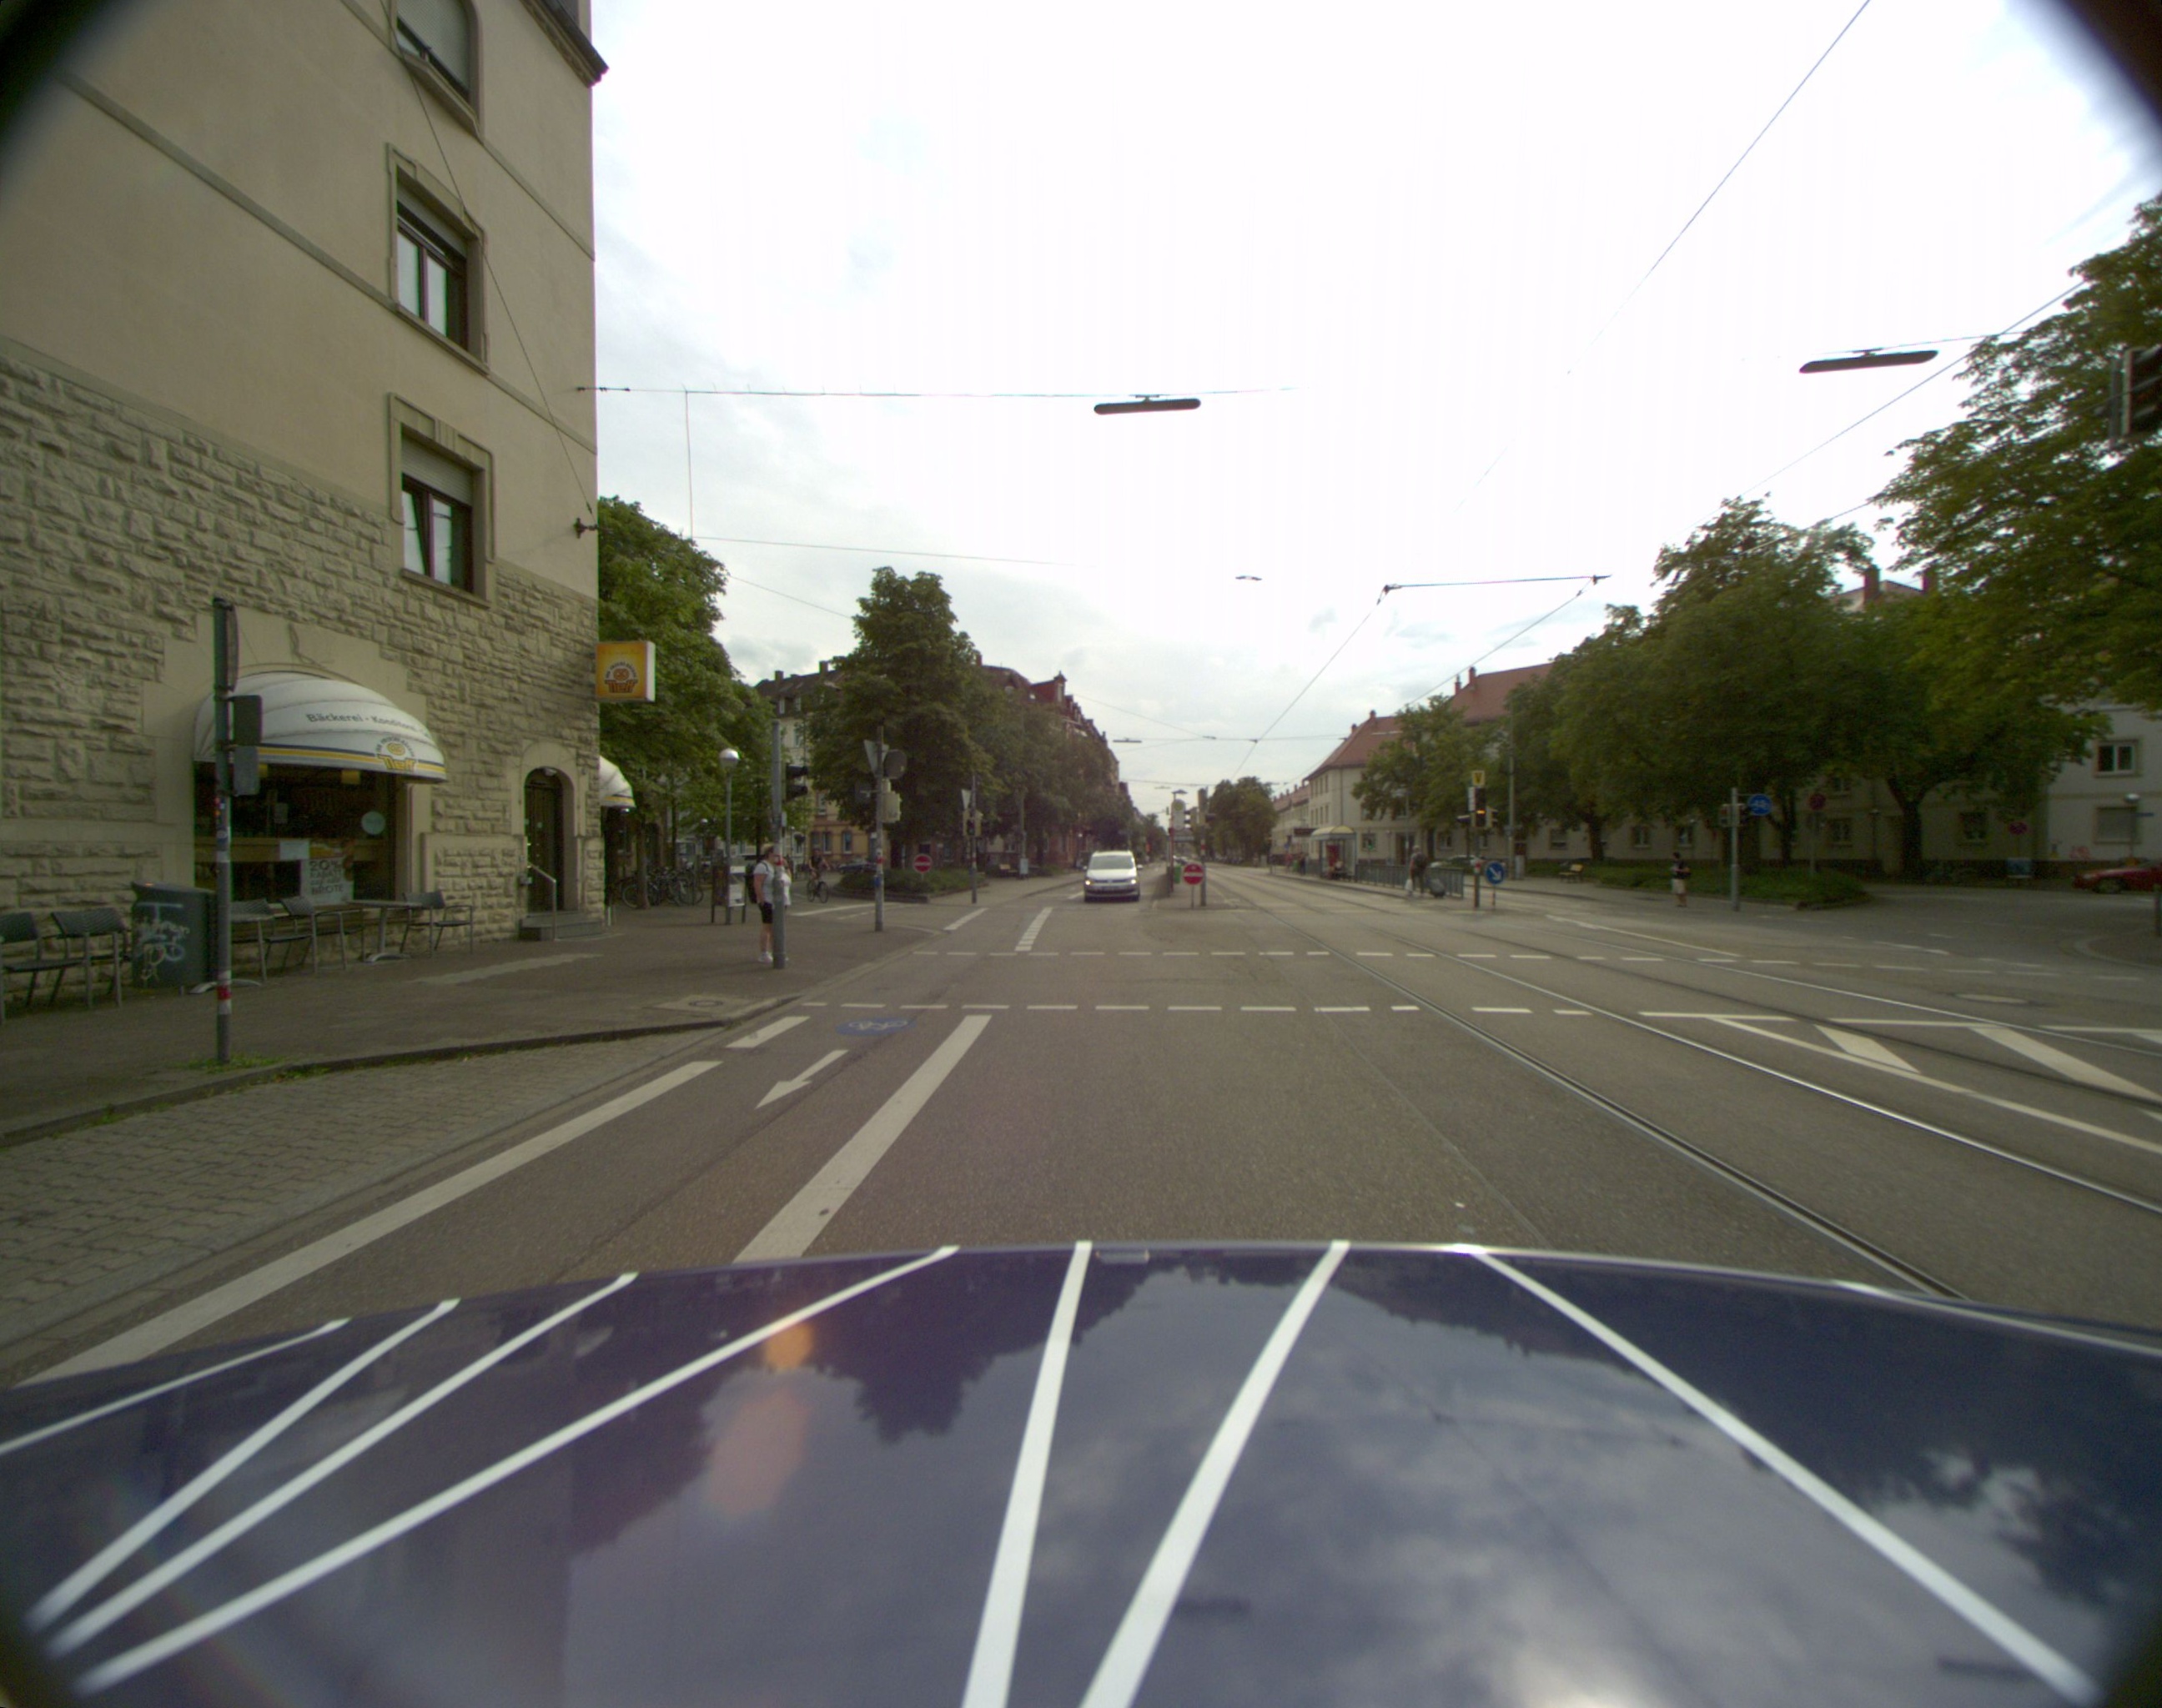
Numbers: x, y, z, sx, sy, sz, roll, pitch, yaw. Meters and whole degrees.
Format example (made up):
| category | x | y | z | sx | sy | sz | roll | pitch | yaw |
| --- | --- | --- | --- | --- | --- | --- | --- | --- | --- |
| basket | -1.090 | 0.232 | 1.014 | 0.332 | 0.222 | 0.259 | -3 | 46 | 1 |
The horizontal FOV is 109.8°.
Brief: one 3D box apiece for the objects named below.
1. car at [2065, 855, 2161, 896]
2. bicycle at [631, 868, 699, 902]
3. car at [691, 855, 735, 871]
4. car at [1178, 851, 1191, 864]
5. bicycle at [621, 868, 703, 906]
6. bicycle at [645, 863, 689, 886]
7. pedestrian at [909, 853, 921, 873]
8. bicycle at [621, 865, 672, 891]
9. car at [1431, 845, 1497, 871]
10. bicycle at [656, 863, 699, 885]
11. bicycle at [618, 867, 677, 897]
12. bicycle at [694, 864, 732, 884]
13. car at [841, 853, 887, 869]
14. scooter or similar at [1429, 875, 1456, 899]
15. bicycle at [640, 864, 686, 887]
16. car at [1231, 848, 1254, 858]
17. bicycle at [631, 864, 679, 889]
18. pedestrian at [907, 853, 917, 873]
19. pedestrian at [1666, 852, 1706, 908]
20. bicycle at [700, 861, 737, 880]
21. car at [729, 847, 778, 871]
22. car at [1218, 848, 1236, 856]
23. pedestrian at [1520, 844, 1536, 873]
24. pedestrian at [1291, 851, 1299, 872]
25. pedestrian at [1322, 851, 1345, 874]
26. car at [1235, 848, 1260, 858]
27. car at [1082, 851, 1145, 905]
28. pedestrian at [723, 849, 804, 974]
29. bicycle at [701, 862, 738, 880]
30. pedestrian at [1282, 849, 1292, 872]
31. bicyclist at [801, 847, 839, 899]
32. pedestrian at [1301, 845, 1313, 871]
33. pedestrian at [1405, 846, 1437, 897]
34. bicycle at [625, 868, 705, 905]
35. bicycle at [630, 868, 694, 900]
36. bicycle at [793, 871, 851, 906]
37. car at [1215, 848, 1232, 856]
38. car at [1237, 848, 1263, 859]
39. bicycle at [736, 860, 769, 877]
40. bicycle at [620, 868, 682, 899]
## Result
| category | x | y | z | sx | sy | sz | roll | pitch | yaw |
| --- | --- | --- | --- | --- | --- | --- | --- | --- | --- |
| car | 38.117 | 0.755 | 26.570 | 4.299 | 1.397 | 1.707 | 0 | 1 | 44 |
| bicycle | -13.050 | 0.960 | 23.885 | 0.481 | 1.032 | 1.797 | -1 | -1 | 43 |
| car | -36.384 | 0.925 | 75.096 | 3.949 | 1.464 | 1.742 | -1 | 0 | 25 |
| car | 15.993 | 0.528 | 117.394 | 1.997 | 2.002 | 4.002 | -1 | 0 | 8 |
| bicycle | -11.995 | 0.932 | 21.806 | 0.481 | 1.032 | 2.053 | -1 | -1 | 37 |
| bicycle | -19.324 | 0.959 | 35.494 | 1.795 | 1.032 | 0.482 | 0 | -1 | -22 |
| pedestrian | -14.291 | 0.742 | 65.427 | 0.789 | 1.684 | 0.779 | 0 | 1 | 4 |
| bicycle | -17.939 | 0.974 | 31.397 | 1.795 | 1.032 | 0.482 | 0 | -1 | -22 |
| car | 29.677 | 0.322 | 58.963 | 4.187 | 1.854 | 1.857 | -1 | 1 | 41 |
| bicycle | -19.585 | 0.961 | 36.937 | 1.795 | 1.032 | 0.482 | 0 | -1 | -22 |
| bicycle | -15.647 | 1.008 | 27.433 | 1.797 | 1.032 | 0.481 | 0 | -1 | -40 |
| bicycle | -19.904 | 1.079 | 41.079 | 1.793 | 1.032 | 0.482 | 0 | -1 | -6 |
| car | -18.711 | 0.625 | 65.530 | 3.580 | 1.259 | 1.742 | -1 | 0 | 30 |
| scooter or similar | 11.657 | 1.057 | 24.510 | 0.669 | 0.708 | 0.605 | 0 | 1 | 38 |
| bicycle | -19.110 | 0.963 | 34.782 | 1.795 | 1.032 | 0.482 | 0 | -1 | -22 |
| car | 29.727 | -0.218 | 140.029 | 3.994 | 1.716 | 1.877 | -1 | 0 | 9 |
| bicycle | -18.509 | 0.962 | 33.042 | 1.795 | 1.032 | 0.482 | 0 | -1 | -22 |
| pedestrian | -14.320 | 0.718 | 64.406 | 0.612 | 1.684 | 0.641 | 0 | 1 | 2 |
| pedestrian | 18.371 | 0.785 | 23.077 | 0.654 | 1.680 | 0.712 | 0 | 1 | 3 |
| bicycle | -19.953 | 0.902 | 41.867 | 1.793 | 1.032 | 0.482 | 0 | -1 | -6 |
| car | -31.312 | 0.489 | 72.614 | 4.534 | 2.104 | 1.742 | -1 | 1 | 25 |
| car | 32.609 | -0.388 | 169.658 | 3.994 | 1.716 | 1.877 | -1 | 0 | 9 |
| pedestrian | 31.779 | 0.311 | 54.028 | 0.862 | 2.002 | 0.766 | -1 | 1 | 41 |
| pedestrian | 16.970 | 0.581 | 60.235 | 0.501 | 1.694 | 0.402 | -1 | 1 | -6 |
| pedestrian | 14.268 | 0.485 | 42.942 | 1.032 | 1.229 | 0.724 | -1 | 1 | 5 |
| car | 28.437 | -0.153 | 129.787 | 3.994 | 1.716 | 1.877 | -1 | 0 | 9 |
| car | 1.200 | 0.770 | 26.265 | 1.766 | 1.661 | 4.331 | -2 | 0 | 7 |
| pedestrian | -4.460 | 0.782 | 10.718 | 0.721 | 1.651 | 0.759 | 4 | 1 | 3 |
| bicycle | -20.256 | 0.949 | 42.604 | 1.793 | 1.032 | 0.482 | 0 | -1 | -6 |
| pedestrian | 16.319 | 0.538 | 60.163 | 0.658 | 1.824 | 0.464 | -1 | 1 | -7 |
| bicyclist | -8.715 | 0.618 | 25.383 | 0.841 | 1.680 | 1.243 | 0 | 0 | -37 |
| pedestrian | 15.101 | 0.271 | 50.805 | 0.588 | 1.694 | 0.619 | -1 | 1 | 3 |
| pedestrian | 11.250 | 0.573 | 25.171 | 0.684 | 1.680 | 0.815 | 0 | 1 | -2 |
| bicycle | -12.351 | 0.943 | 22.612 | 0.481 | 1.032 | 2.053 | -1 | -1 | 37 |
| bicycle | -13.939 | 0.977 | 25.311 | 0.481 | 1.032 | 1.797 | -1 | -1 | 43 |
| bicycle | -8.706 | 1.107 | 25.404 | 0.888 | 1.039 | 3.088 | -1 | 0 | -37 |
| car | 34.970 | -0.503 | 186.631 | 3.994 | 1.716 | 1.877 | -1 | 0 | 9 |
| car | 26.822 | -0.082 | 120.575 | 3.994 | 1.716 | 1.877 | -1 | 0 | 9 |
| bicycle | -19.709 | 0.879 | 45.602 | 1.793 | 1.032 | 0.482 | 0 | -1 | -6 |
| bicycle | -14.857 | 0.997 | 26.272 | 1.797 | 1.032 | 0.481 | 0 | -1 | -40 |
